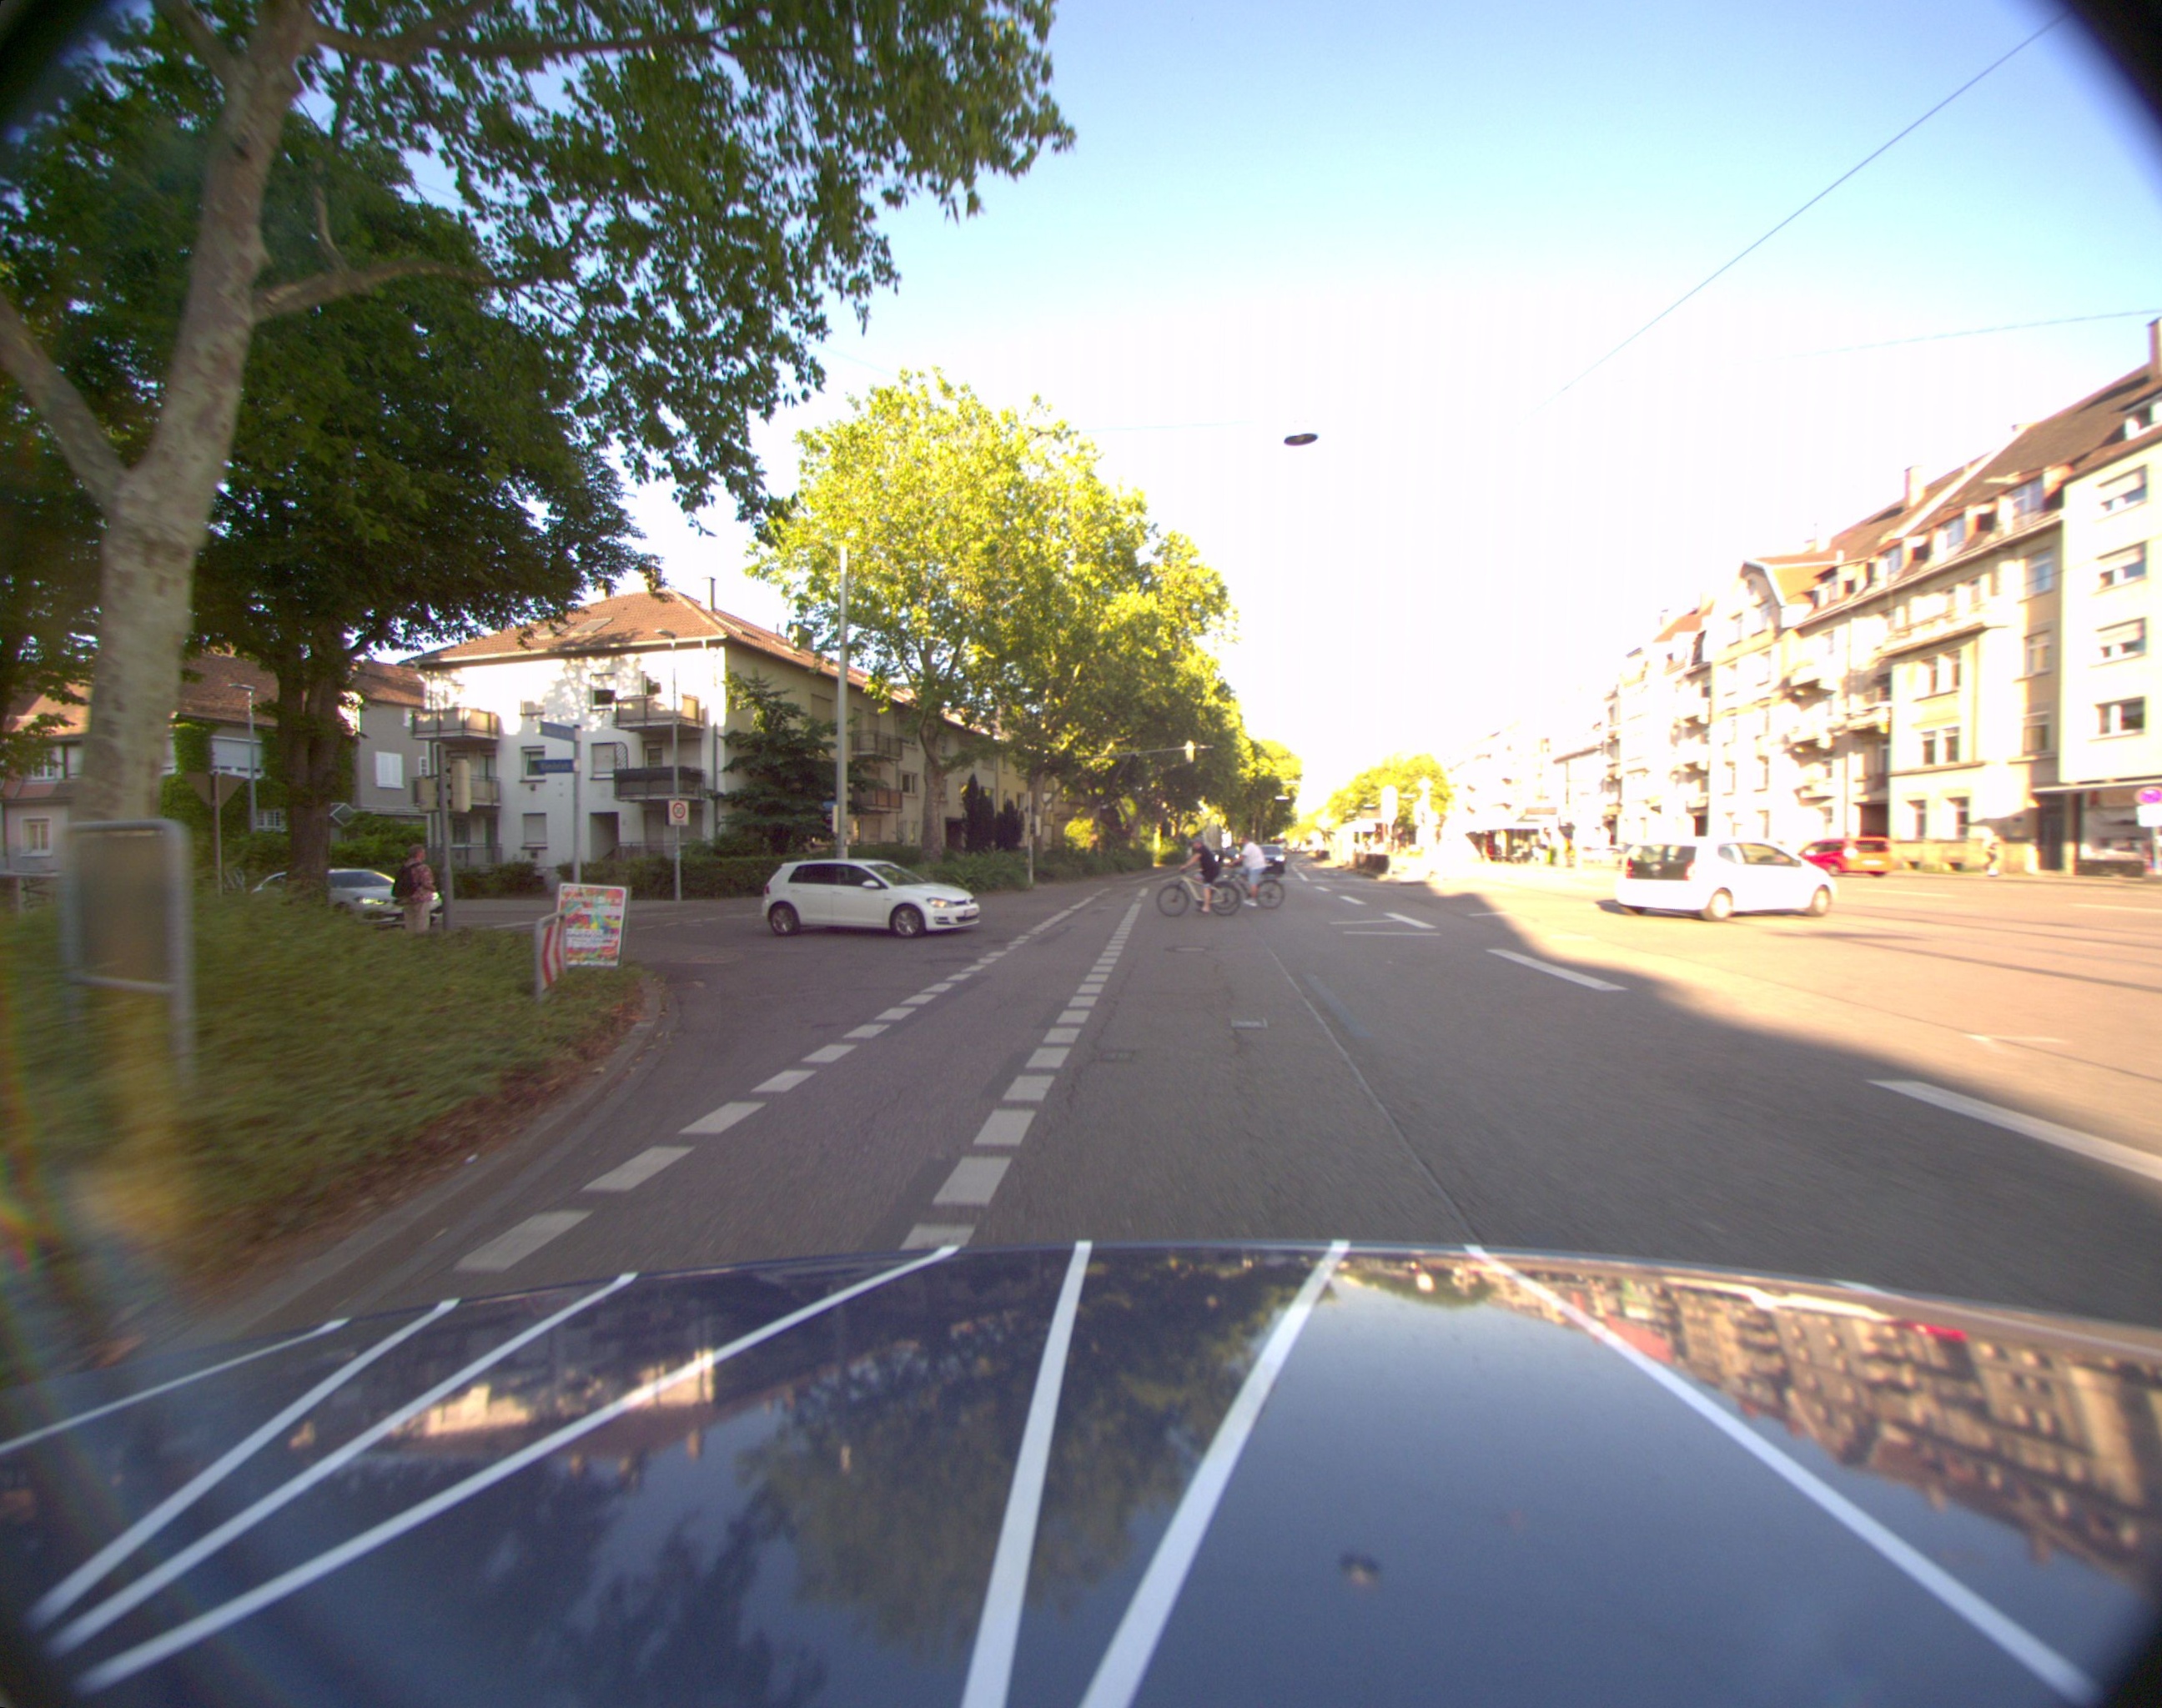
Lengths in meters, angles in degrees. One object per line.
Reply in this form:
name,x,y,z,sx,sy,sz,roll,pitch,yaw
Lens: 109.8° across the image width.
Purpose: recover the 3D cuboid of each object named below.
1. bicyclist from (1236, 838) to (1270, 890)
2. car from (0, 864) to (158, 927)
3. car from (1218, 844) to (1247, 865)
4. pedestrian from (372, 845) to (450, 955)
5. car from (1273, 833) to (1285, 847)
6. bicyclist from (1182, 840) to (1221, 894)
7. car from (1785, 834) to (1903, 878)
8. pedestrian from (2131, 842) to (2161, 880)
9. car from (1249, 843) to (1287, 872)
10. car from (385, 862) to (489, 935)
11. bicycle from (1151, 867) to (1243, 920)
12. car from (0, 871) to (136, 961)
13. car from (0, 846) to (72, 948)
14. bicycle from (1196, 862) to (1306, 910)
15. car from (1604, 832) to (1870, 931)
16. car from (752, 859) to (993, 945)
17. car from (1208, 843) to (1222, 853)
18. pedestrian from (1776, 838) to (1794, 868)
bicyclist,4.170,0.234,18.418,0.766,1.229,0.661,0,2,17
car,-28.257,1.092,20.881,4.744,1.509,1.846,0,2,15
car,12.190,0.015,61.007,1.875,1.587,4.005,0,1,17
pedestrian,-11.318,0.746,12.849,0.664,1.796,0.703,0,3,21
car,34.391,-2.458,131.885,1.876,2.279,4.004,0,1,14
bicyclist,2.681,0.282,16.872,0.766,1.151,0.612,0,2,17
car,35.222,0.047,35.257,1.917,1.889,4.313,0,2,15
pedestrian,37.722,0.240,26.812,0.553,1.355,0.556,0,1,13
car,10.787,0.175,43.573,1.875,1.587,4.005,0,1,17
car,-16.615,1.048,19.689,1.848,1.509,4.010,-2,3,-40
bicycle,2.586,0.888,16.922,1.920,1.099,0.653,-2,2,17
car,-20.174,1.141,13.386,1.681,1.566,4.053,-1,0,14
car,-22.856,0.868,14.209,1.755,1.973,4.440,3,1,16
bicycle,4.123,0.770,18.461,2.547,1.099,0.653,-1,2,17
car,11.786,0.416,13.726,3.816,1.472,1.735,-3,2,-14
car,-3.973,0.852,14.723,4.102,1.442,1.846,0,2,15
car,21.151,-0.934,119.519,1.876,1.587,4.004,0,1,14
pedestrian,42.853,-0.069,46.250,0.639,1.827,0.477,0,2,16
